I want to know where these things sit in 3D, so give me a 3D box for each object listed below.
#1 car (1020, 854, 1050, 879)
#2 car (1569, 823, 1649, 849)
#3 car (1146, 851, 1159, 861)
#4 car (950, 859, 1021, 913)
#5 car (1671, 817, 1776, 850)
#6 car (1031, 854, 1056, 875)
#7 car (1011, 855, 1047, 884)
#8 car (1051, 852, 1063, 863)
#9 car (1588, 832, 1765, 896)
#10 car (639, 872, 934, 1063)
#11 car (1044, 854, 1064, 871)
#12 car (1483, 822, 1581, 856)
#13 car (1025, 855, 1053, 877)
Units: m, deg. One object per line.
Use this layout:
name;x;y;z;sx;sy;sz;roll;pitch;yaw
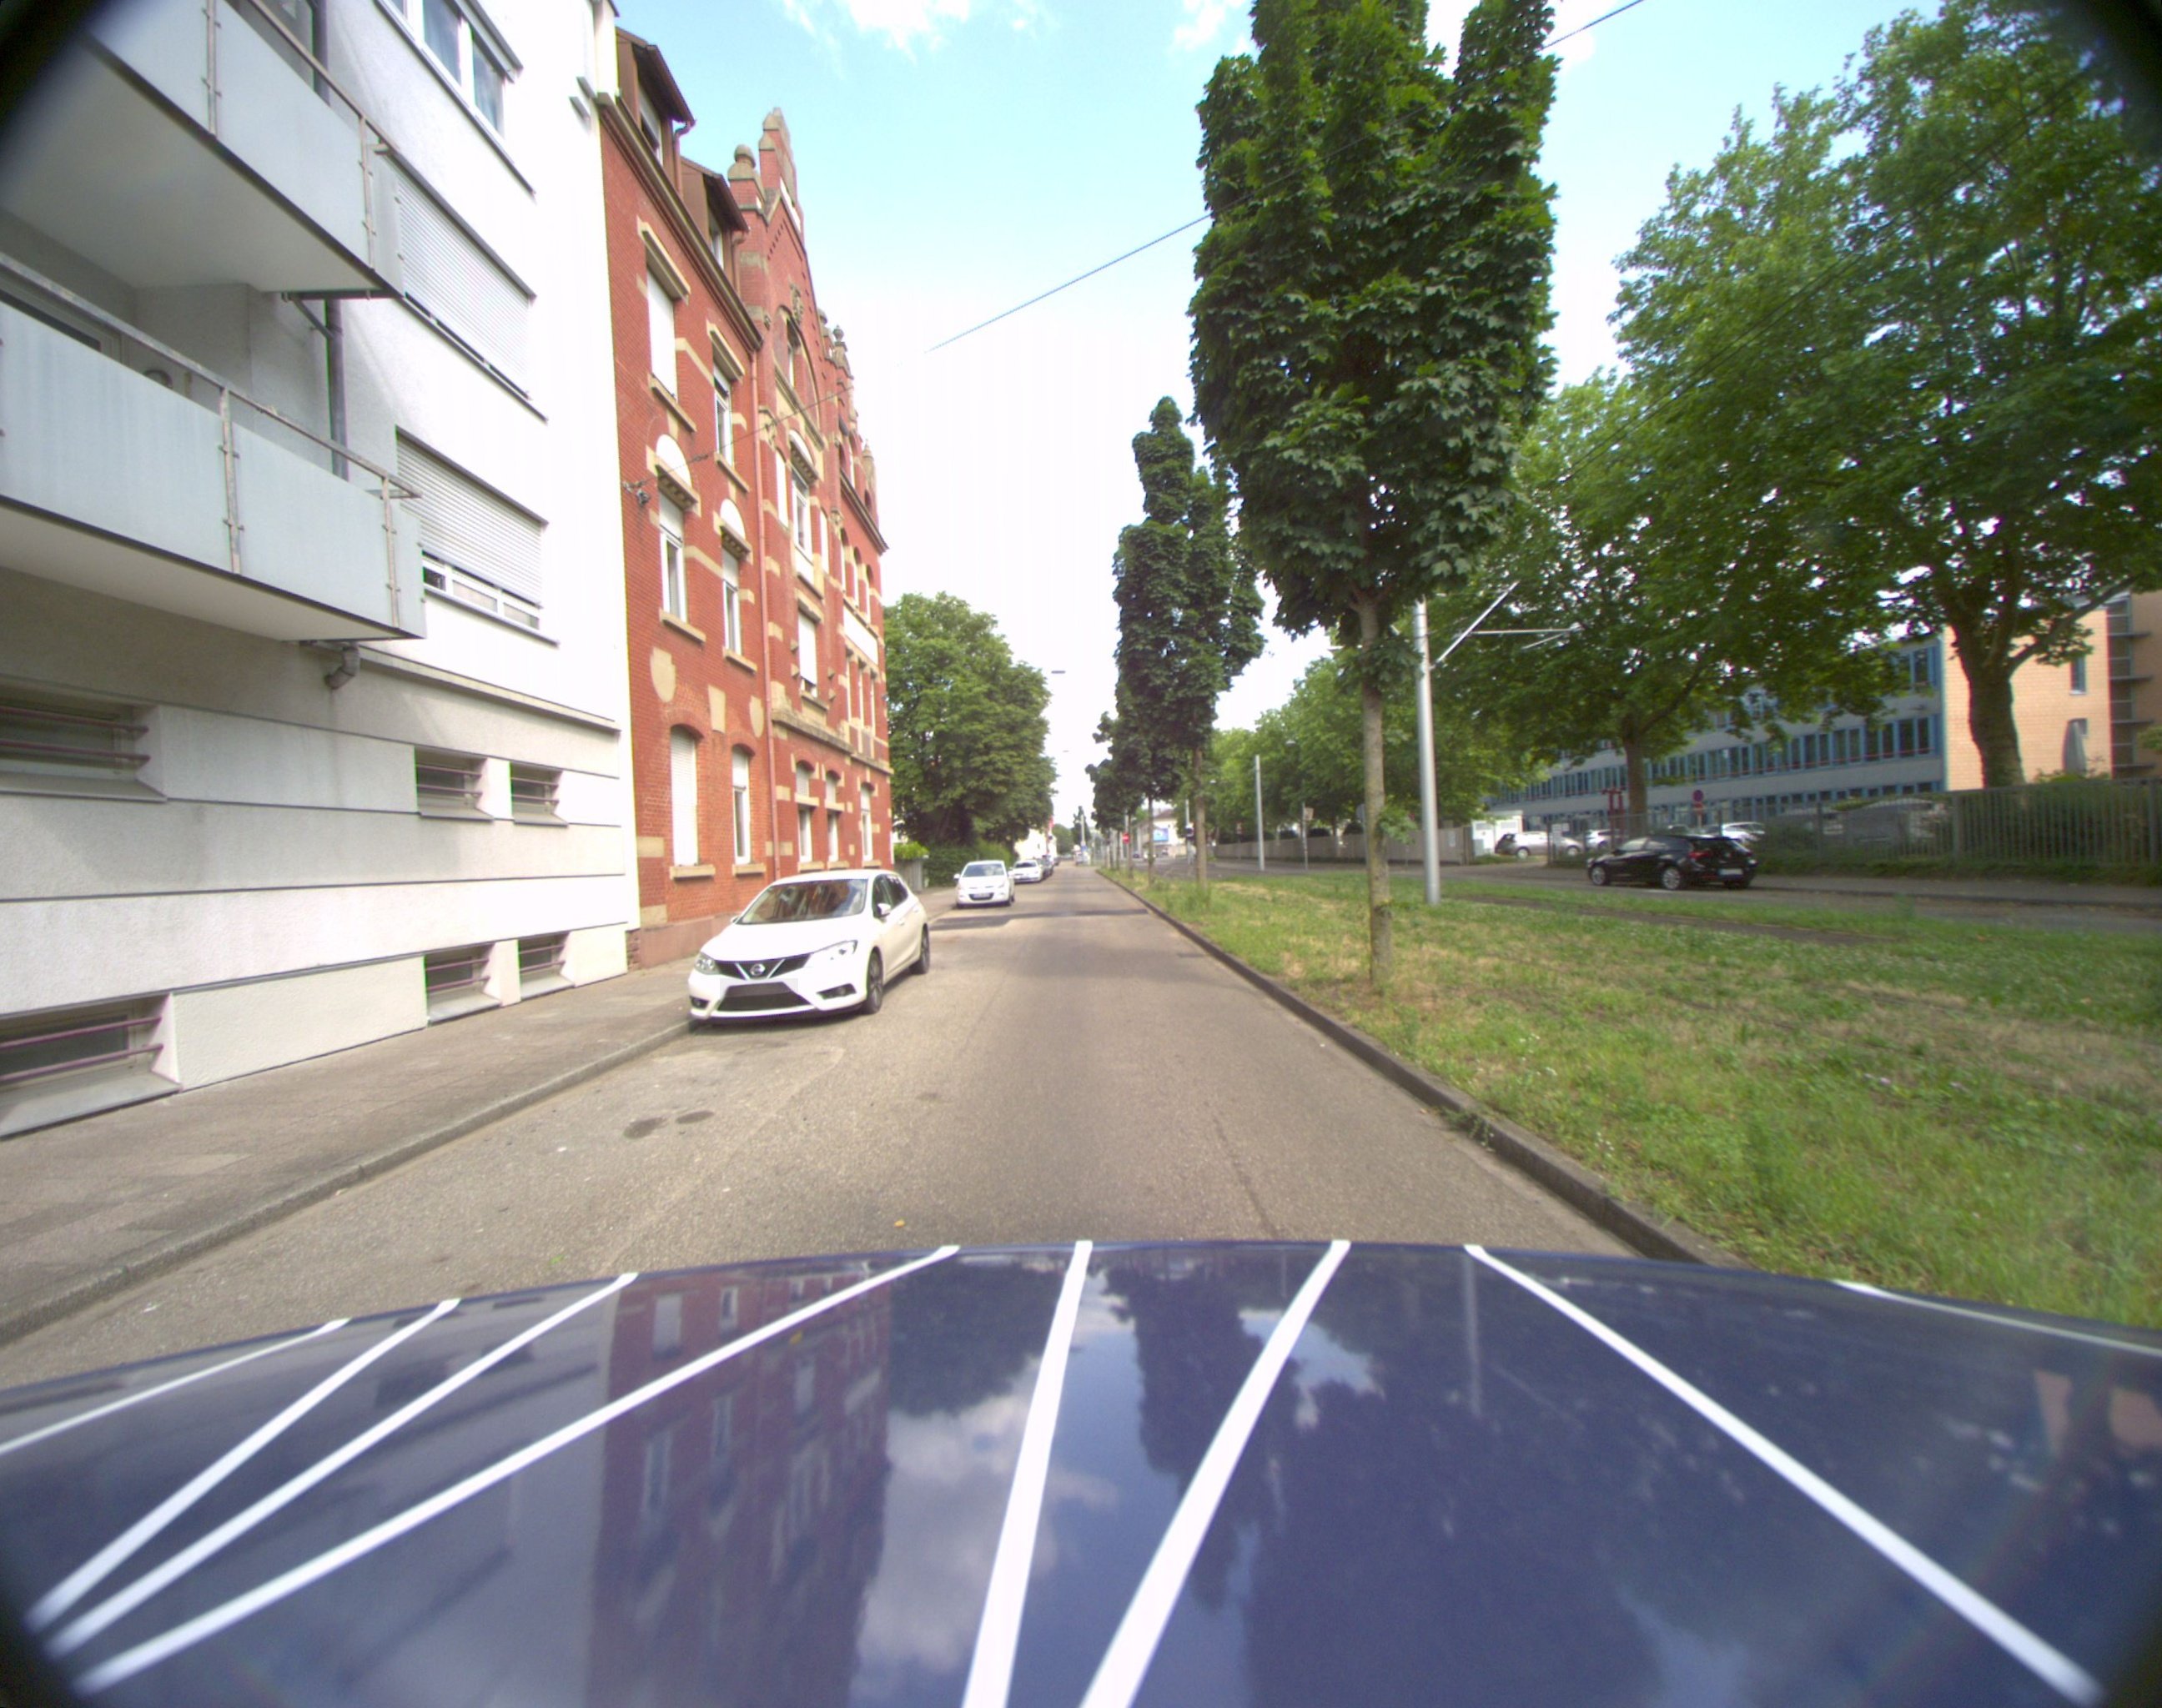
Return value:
car;-3.166;0.859;52.991;1.801;1.521;4.040;-5;0;0
car;35.377;-1.192;50.951;3.997;1.608;1.999;-2;1;-2
car;12.000;0.286;127.806;1.801;1.521;4.040;-4;0;0
car;-3.078;0.990;25.300;1.801;1.521;4.040;-4;0;0
car;34.562;-1.076;40.961;3.997;1.608;1.999;-2;1;-2
car;-3.138;0.847;63.864;1.801;1.521;4.040;-5;0;0
car;-3.155;0.939;46.717;1.801;1.521;4.040;-5;0;0
car;-3.860;0.521;122.228;1.801;1.521;4.040;-5;0;0
car;15.555;0.226;20.152;1.601;1.455;4.000;-3;0;2
car;-3.052;1.078;8.893;1.801;1.521;4.040;-3;0;0
car;-2.729;0.872;77.433;1.801;1.521;4.040;-5;0;0
car;23.799;-0.792;40.231;3.997;1.608;1.999;-2;1;-2
car;-3.205;0.897;58.451;1.801;1.521;4.040;-5;0;0
